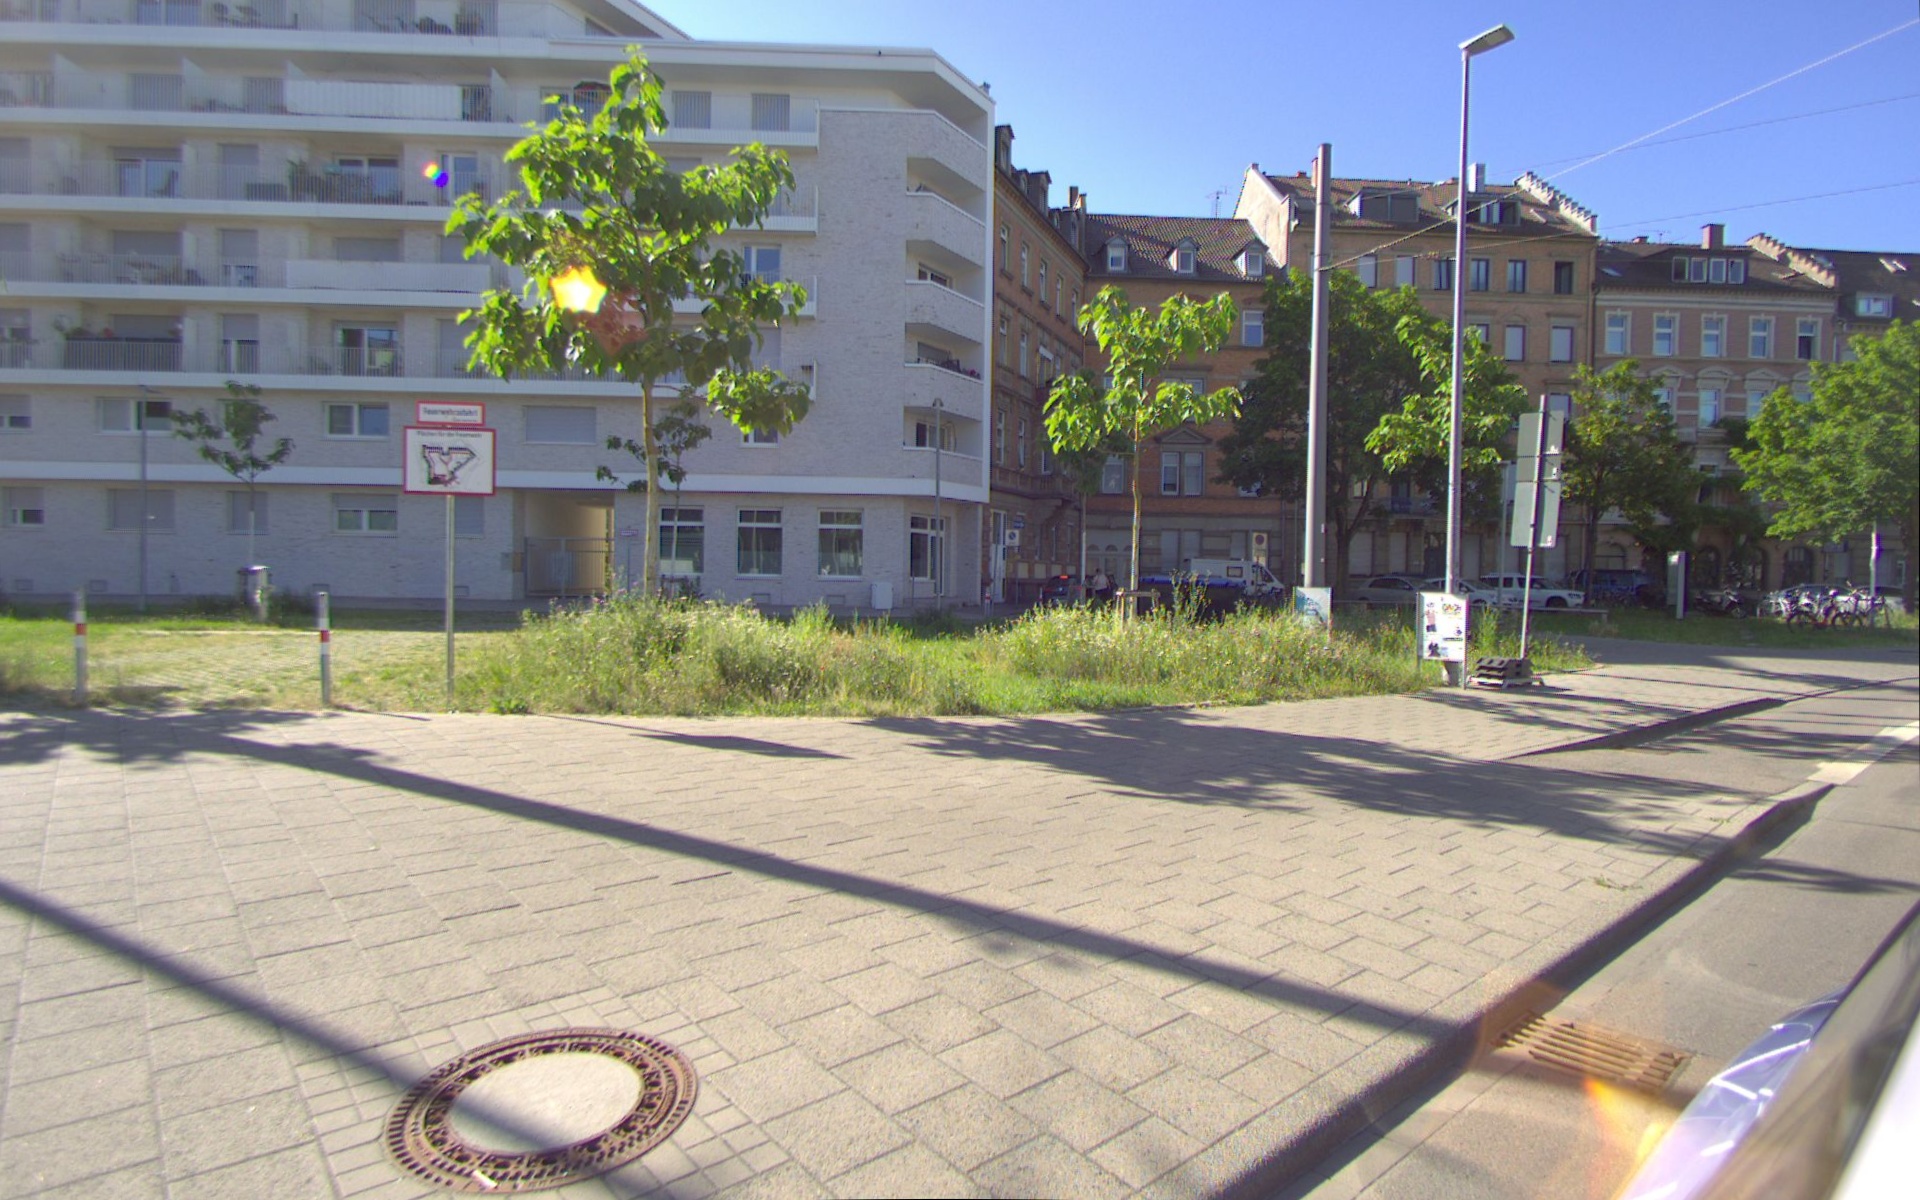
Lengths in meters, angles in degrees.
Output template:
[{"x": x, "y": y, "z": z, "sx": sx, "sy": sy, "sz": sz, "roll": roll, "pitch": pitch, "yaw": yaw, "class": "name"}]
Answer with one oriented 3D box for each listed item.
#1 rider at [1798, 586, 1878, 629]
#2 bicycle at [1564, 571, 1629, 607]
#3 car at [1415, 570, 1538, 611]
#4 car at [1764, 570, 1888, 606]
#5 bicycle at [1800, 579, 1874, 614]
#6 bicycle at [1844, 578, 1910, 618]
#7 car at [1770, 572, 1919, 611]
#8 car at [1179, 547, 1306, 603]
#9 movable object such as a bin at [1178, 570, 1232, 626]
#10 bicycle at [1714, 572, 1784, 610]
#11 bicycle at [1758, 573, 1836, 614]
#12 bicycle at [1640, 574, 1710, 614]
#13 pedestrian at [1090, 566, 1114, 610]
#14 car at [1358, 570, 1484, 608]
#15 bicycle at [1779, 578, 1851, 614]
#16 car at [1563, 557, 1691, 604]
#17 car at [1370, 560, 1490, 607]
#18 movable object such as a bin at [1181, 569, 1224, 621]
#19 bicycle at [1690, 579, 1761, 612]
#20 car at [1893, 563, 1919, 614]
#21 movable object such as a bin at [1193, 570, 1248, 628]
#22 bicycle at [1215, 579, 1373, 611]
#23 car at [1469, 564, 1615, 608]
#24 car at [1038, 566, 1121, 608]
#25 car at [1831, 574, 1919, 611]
[{"x": 25.000, "y": 0.214, "z": 28.827, "sx": 1.652, "sy": 1.191, "sz": 0.501, "roll": -1, "pitch": 1, "yaw": 15, "class": "rider"}, {"x": 25.830, "y": -0.463, "z": 41.074, "sx": 0.774, "sy": 1.382, "sz": 2.096, "roll": 0, "pitch": 2, "yaw": -42, "class": "bicycle"}, {"x": 19.644, "y": -0.385, "z": 38.642, "sx": 1.726, "sy": 1.459, "sz": 3.846, "roll": 0, "pitch": 2, "yaw": -33, "class": "car"}, {"x": 41.810, "y": -0.588, "z": 48.912, "sx": 4.422, "sy": 1.547, "sz": 2.004, "roll": 1, "pitch": 3, "yaw": -6, "class": "car"}, {"x": 31.938, "y": -0.151, "z": 36.890, "sx": 0.882, "sy": 1.195, "sz": 1.953, "roll": 0, "pitch": 3, "yaw": -3, "class": "bicycle"}, {"x": 31.606, "y": -0.092, "z": 34.911, "sx": 1.589, "sy": 1.306, "sz": 0.760, "roll": 3, "pitch": 3, "yaw": 38, "class": "bicycle"}, {"x": 34.898, "y": -0.359, "z": 39.517, "sx": 2.007, "sy": 1.397, "sz": 4.753, "roll": 0, "pitch": 2, "yaw": -35, "class": "car"}, {"x": 13.014, "y": -1.201, "z": 46.863, "sx": 5.087, "sy": 2.385, "sz": 2.359, "roll": 2, "pitch": 3, "yaw": -1, "class": "car"}, {"x": 6.535, "y": -0.074, "z": 26.991, "sx": 1.303, "sy": 1.416, "sz": 1.105, "roll": 1, "pitch": 1, "yaw": 18, "class": "movable object such as a bin"}, {"x": 29.436, "y": -0.344, "z": 37.802, "sx": 0.771, "sy": 1.382, "sz": 2.103, "roll": 0, "pitch": 1, "yaw": -8, "class": "bicycle"}, {"x": 29.221, "y": -0.253, "z": 35.368, "sx": 0.771, "sy": 1.382, "sz": 2.103, "roll": 0, "pitch": 1, "yaw": -8, "class": "bicycle"}, {"x": 26.255, "y": -0.247, "z": 37.187, "sx": 0.771, "sy": 1.416, "sz": 2.104, "roll": 0, "pitch": 1, "yaw": -13, "class": "bicycle"}, {"x": 5.179, "y": -0.447, "z": 36.913, "sx": 0.756, "sy": 1.596, "sz": 0.643, "roll": 0, "pitch": 1, "yaw": -2, "class": "pedestrian"}, {"x": 17.329, "y": -0.436, "z": 38.208, "sx": 1.802, "sy": 1.354, "sz": 4.063, "roll": 0, "pitch": 2, "yaw": -27, "class": "car"}, {"x": 31.036, "y": -0.156, "z": 36.793, "sx": 0.825, "sy": 1.206, "sz": 1.966, "roll": 1, "pitch": 3, "yaw": -3, "class": "bicycle"}, {"x": 31.442, "y": -0.935, "z": 47.787, "sx": 4.631, "sy": 2.001, "sz": 2.002, "roll": 1, "pitch": 3, "yaw": -3, "class": "car"}, {"x": 22.048, "y": -0.808, "z": 47.604, "sx": 4.632, "sy": 2.001, "sz": 2.002, "roll": 1, "pitch": 3, "yaw": -2, "class": "car"}, {"x": 6.769, "y": -0.151, "z": 28.234, "sx": 1.076, "sy": 1.416, "sz": 1.026, "roll": 1, "pitch": 1, "yaw": 18, "class": "movable object such as a bin"}, {"x": 28.442, "y": -0.198, "z": 37.660, "sx": 0.806, "sy": 1.173, "sz": 2.172, "roll": 1, "pitch": 1, "yaw": -6, "class": "bicycle"}, {"x": 40.630, "y": -0.368, "z": 40.199, "sx": 2.061, "sy": 2.037, "sz": 4.882, "roll": -2, "pitch": 4, "yaw": -36, "class": "car"}, {"x": 6.651, "y": -0.048, "z": 25.785, "sx": 1.286, "sy": 1.416, "sz": 1.066, "roll": 1, "pitch": 1, "yaw": 18, "class": "movable object such as a bin"}, {"x": 12.930, "y": -0.210, "z": 39.416, "sx": 5.116, "sy": 1.141, "sz": 2.687, "roll": 1, "pitch": 1, "yaw": -7, "class": "bicycle"}, {"x": 22.328, "y": -0.576, "z": 38.992, "sx": 1.900, "sy": 1.585, "sz": 4.473, "roll": 0, "pitch": 2, "yaw": -33, "class": "car"}, {"x": 4.531, "y": -0.517, "z": 37.917, "sx": 1.979, "sy": 1.454, "sz": 4.074, "roll": 1, "pitch": 1, "yaw": 24, "class": "car"}, {"x": 37.479, "y": -0.317, "z": 40.481, "sx": 1.889, "sy": 1.397, "sz": 3.615, "roll": 0, "pitch": 2, "yaw": -35, "class": "car"}]
